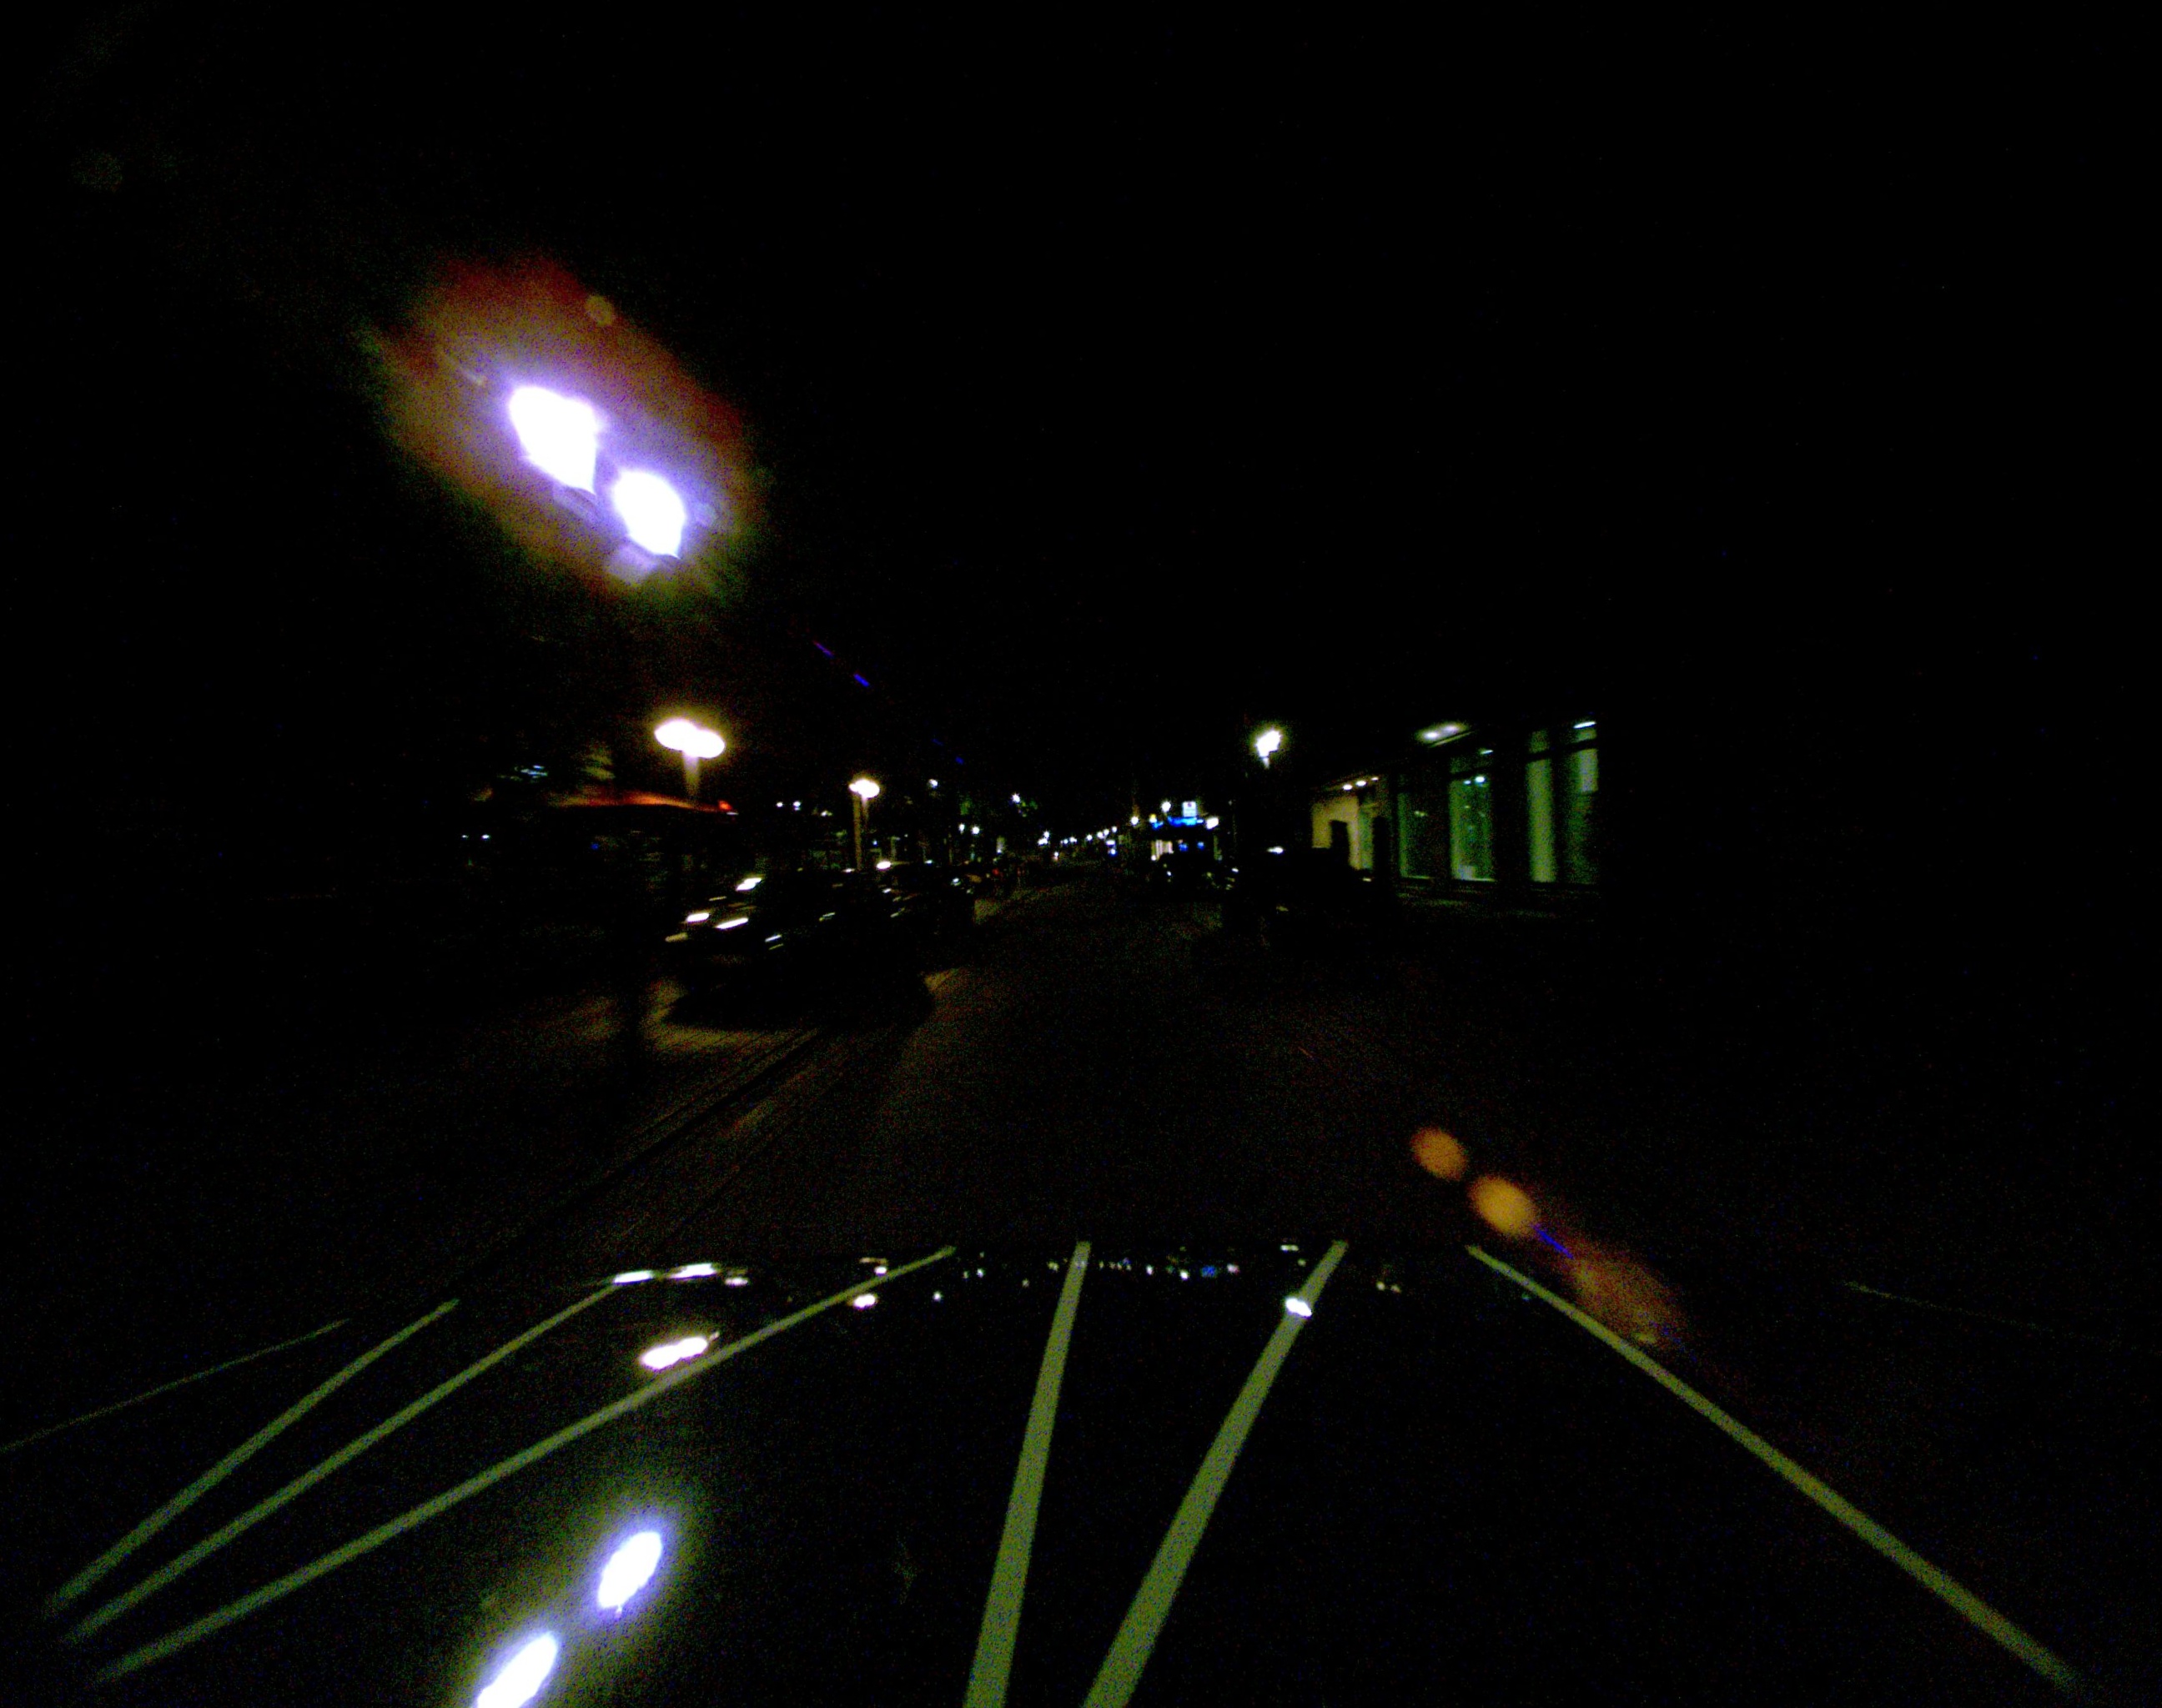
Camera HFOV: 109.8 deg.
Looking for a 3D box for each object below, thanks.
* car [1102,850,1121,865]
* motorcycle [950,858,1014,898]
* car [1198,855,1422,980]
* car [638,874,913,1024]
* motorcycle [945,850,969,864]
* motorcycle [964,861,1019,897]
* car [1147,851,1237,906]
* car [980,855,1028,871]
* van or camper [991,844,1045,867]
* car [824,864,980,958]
[{"bbox_3d":[3.307,0.357,82.609,1.655,1.417,4.014,-4,0,-2],"label":"car"},{"bbox_3d":[-3.579,0.859,27.409,2.266,1.383,0.662,-1,1,25],"label":"motorcycle"},{"bbox_3d":[3.245,0.796,11.875,1.850,1.455,4.622,-3,0,-3],"label":"car"},{"bbox_3d":[-3.530,1.005,9.688,1.665,1.369,4.104,0,0,3],"label":"car"},{"bbox_3d":[-11.530,0.276,70.824,2.226,1.263,0.531,-2,0,-43],"label":"motorcycle"},{"bbox_3d":[-3.401,0.932,28.710,2.165,1.290,0.516,-1,1,30],"label":"motorcycle"},{"bbox_3d":[3.344,0.690,23.776,1.905,1.462,4.524,-2,0,-3],"label":"car"},{"bbox_3d":[-7.699,0.881,76.112,4.555,1.447,1.633,-2,0,-36],"label":"car"},{"bbox_3d":[-7.427,0.199,89.953,6.061,2.518,2.157,-2,0,-31],"label":"van or camper"},{"bbox_3d":[-3.263,0.968,14.789,1.757,1.455,4.467,0,0,3],"label":"car"}]
